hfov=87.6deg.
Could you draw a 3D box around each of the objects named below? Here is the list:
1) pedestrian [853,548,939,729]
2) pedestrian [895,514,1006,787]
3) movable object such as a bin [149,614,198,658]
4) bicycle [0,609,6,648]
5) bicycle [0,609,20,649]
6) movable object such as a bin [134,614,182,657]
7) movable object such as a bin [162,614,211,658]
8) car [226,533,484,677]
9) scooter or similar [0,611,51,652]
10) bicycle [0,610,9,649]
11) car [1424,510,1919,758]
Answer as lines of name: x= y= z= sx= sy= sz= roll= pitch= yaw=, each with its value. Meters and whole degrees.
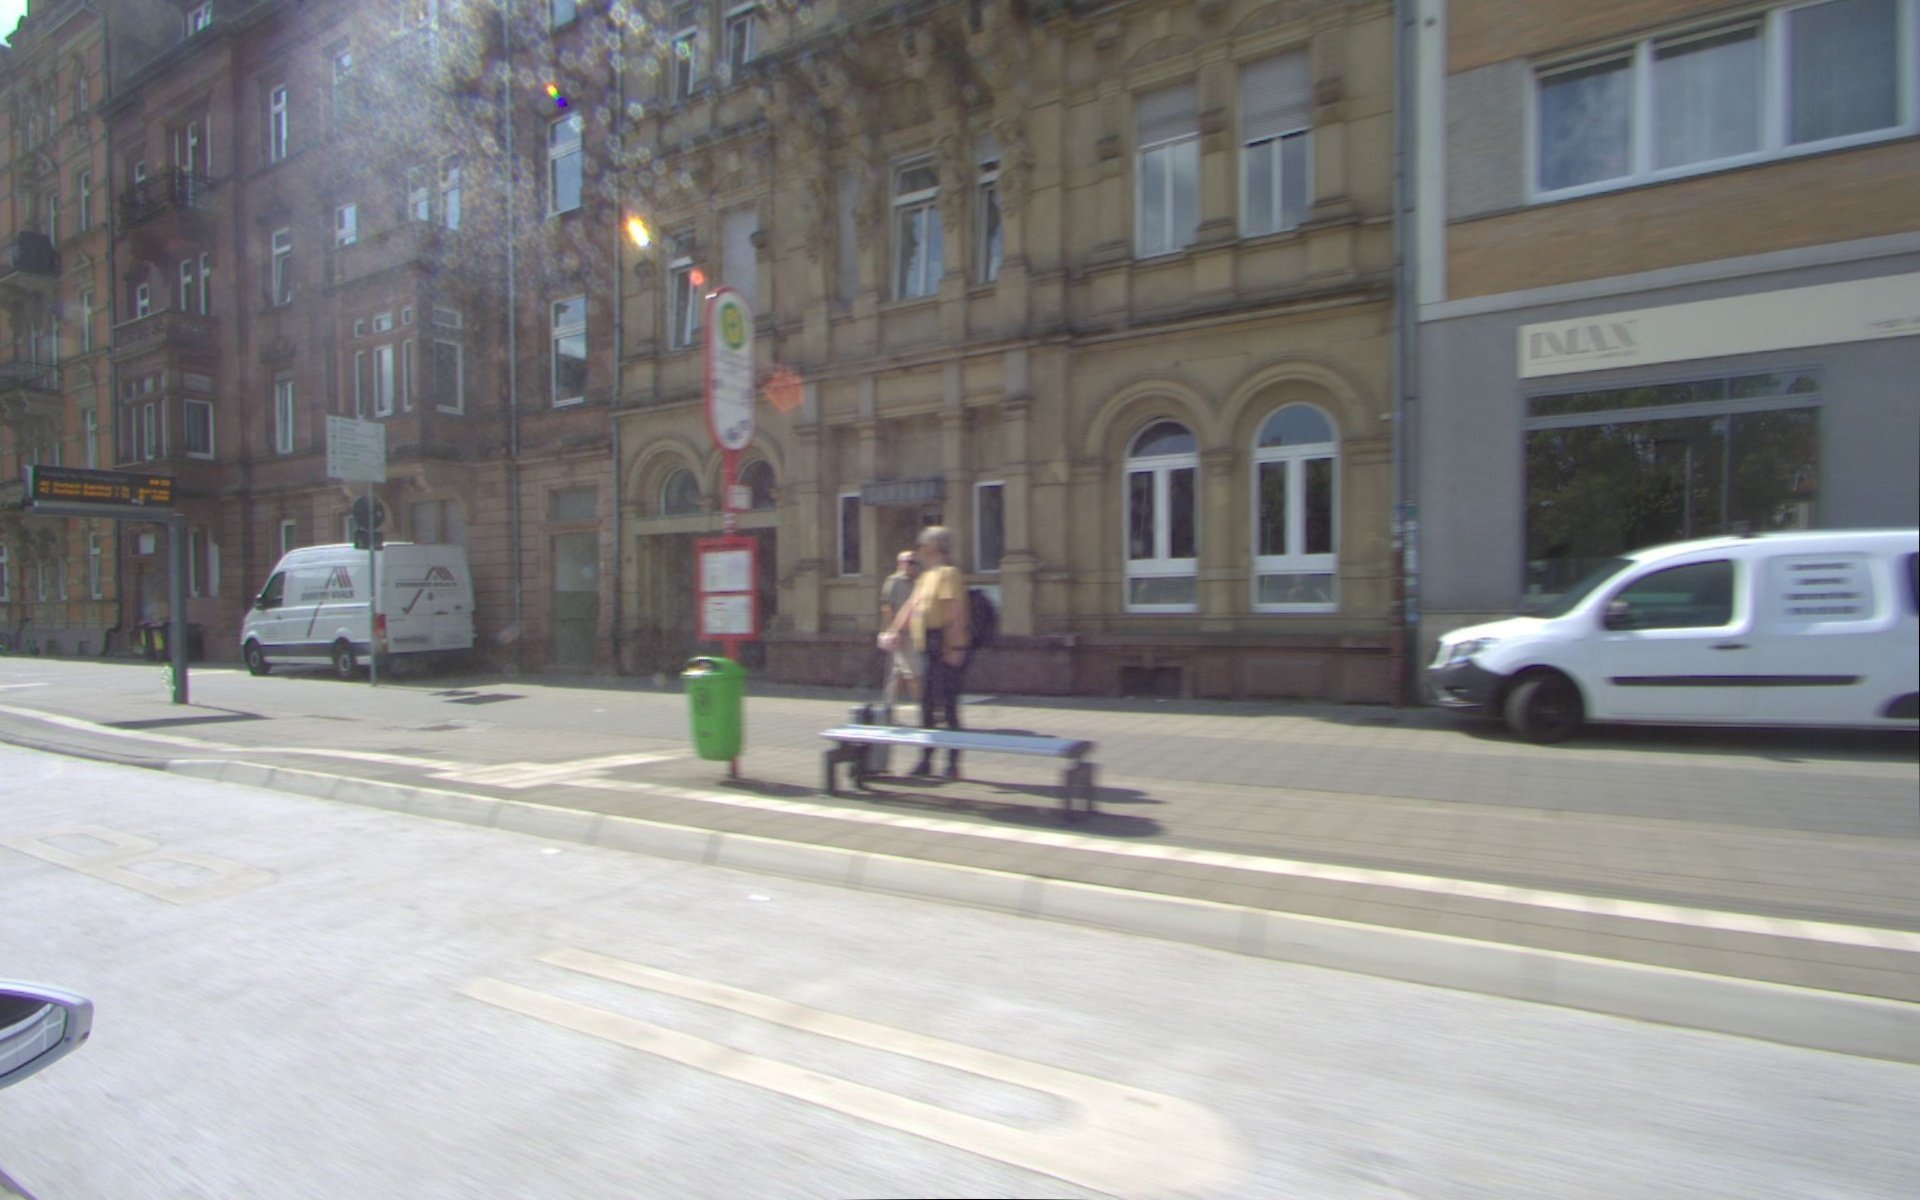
pedestrian: x=-0.677 y=0.400 z=10.762 sx=0.683 sy=1.861 sz=0.662 roll=0 pitch=1 yaw=25
pedestrian: x=-0.055 y=0.359 z=7.473 sx=0.681 sy=1.928 sz=0.664 roll=0 pitch=1 yaw=13
movable object such as a bin: x=-20.965 y=0.952 z=26.691 sx=0.765 sy=1.122 sz=0.784 roll=0 pitch=1 yaw=29
bicycle: x=-32.862 y=0.943 z=33.165 sx=0.460 sy=1.285 sz=1.764 roll=3 pitch=1 yaw=34
bicycle: x=-31.855 y=0.950 z=32.615 sx=0.460 sy=1.285 sz=1.764 roll=3 pitch=1 yaw=34
movable object such as a bin: x=-21.725 y=0.955 z=27.137 sx=0.765 sy=1.122 sz=0.784 roll=0 pitch=1 yaw=29
movable object such as a bin: x=-20.322 y=0.944 z=26.315 sx=0.765 sy=1.122 sz=0.784 roll=0 pitch=1 yaw=29
car: x=-12.221 y=0.102 z=20.089 sx=5.802 sy=2.559 sz=1.990 roll=0 pitch=0 yaw=32
scooter or similar: x=-29.578 y=0.989 z=31.197 sx=0.460 sy=1.201 sz=1.765 roll=0 pitch=2 yaw=31
bicycle: x=-32.366 y=0.975 z=32.794 sx=0.460 sy=1.285 sz=1.741 roll=3 pitch=1 yaw=34
car: x=6.756 y=0.279 z=8.990 sx=4.676 sy=1.886 sz=1.993 roll=-1 pitch=0 yaw=26
